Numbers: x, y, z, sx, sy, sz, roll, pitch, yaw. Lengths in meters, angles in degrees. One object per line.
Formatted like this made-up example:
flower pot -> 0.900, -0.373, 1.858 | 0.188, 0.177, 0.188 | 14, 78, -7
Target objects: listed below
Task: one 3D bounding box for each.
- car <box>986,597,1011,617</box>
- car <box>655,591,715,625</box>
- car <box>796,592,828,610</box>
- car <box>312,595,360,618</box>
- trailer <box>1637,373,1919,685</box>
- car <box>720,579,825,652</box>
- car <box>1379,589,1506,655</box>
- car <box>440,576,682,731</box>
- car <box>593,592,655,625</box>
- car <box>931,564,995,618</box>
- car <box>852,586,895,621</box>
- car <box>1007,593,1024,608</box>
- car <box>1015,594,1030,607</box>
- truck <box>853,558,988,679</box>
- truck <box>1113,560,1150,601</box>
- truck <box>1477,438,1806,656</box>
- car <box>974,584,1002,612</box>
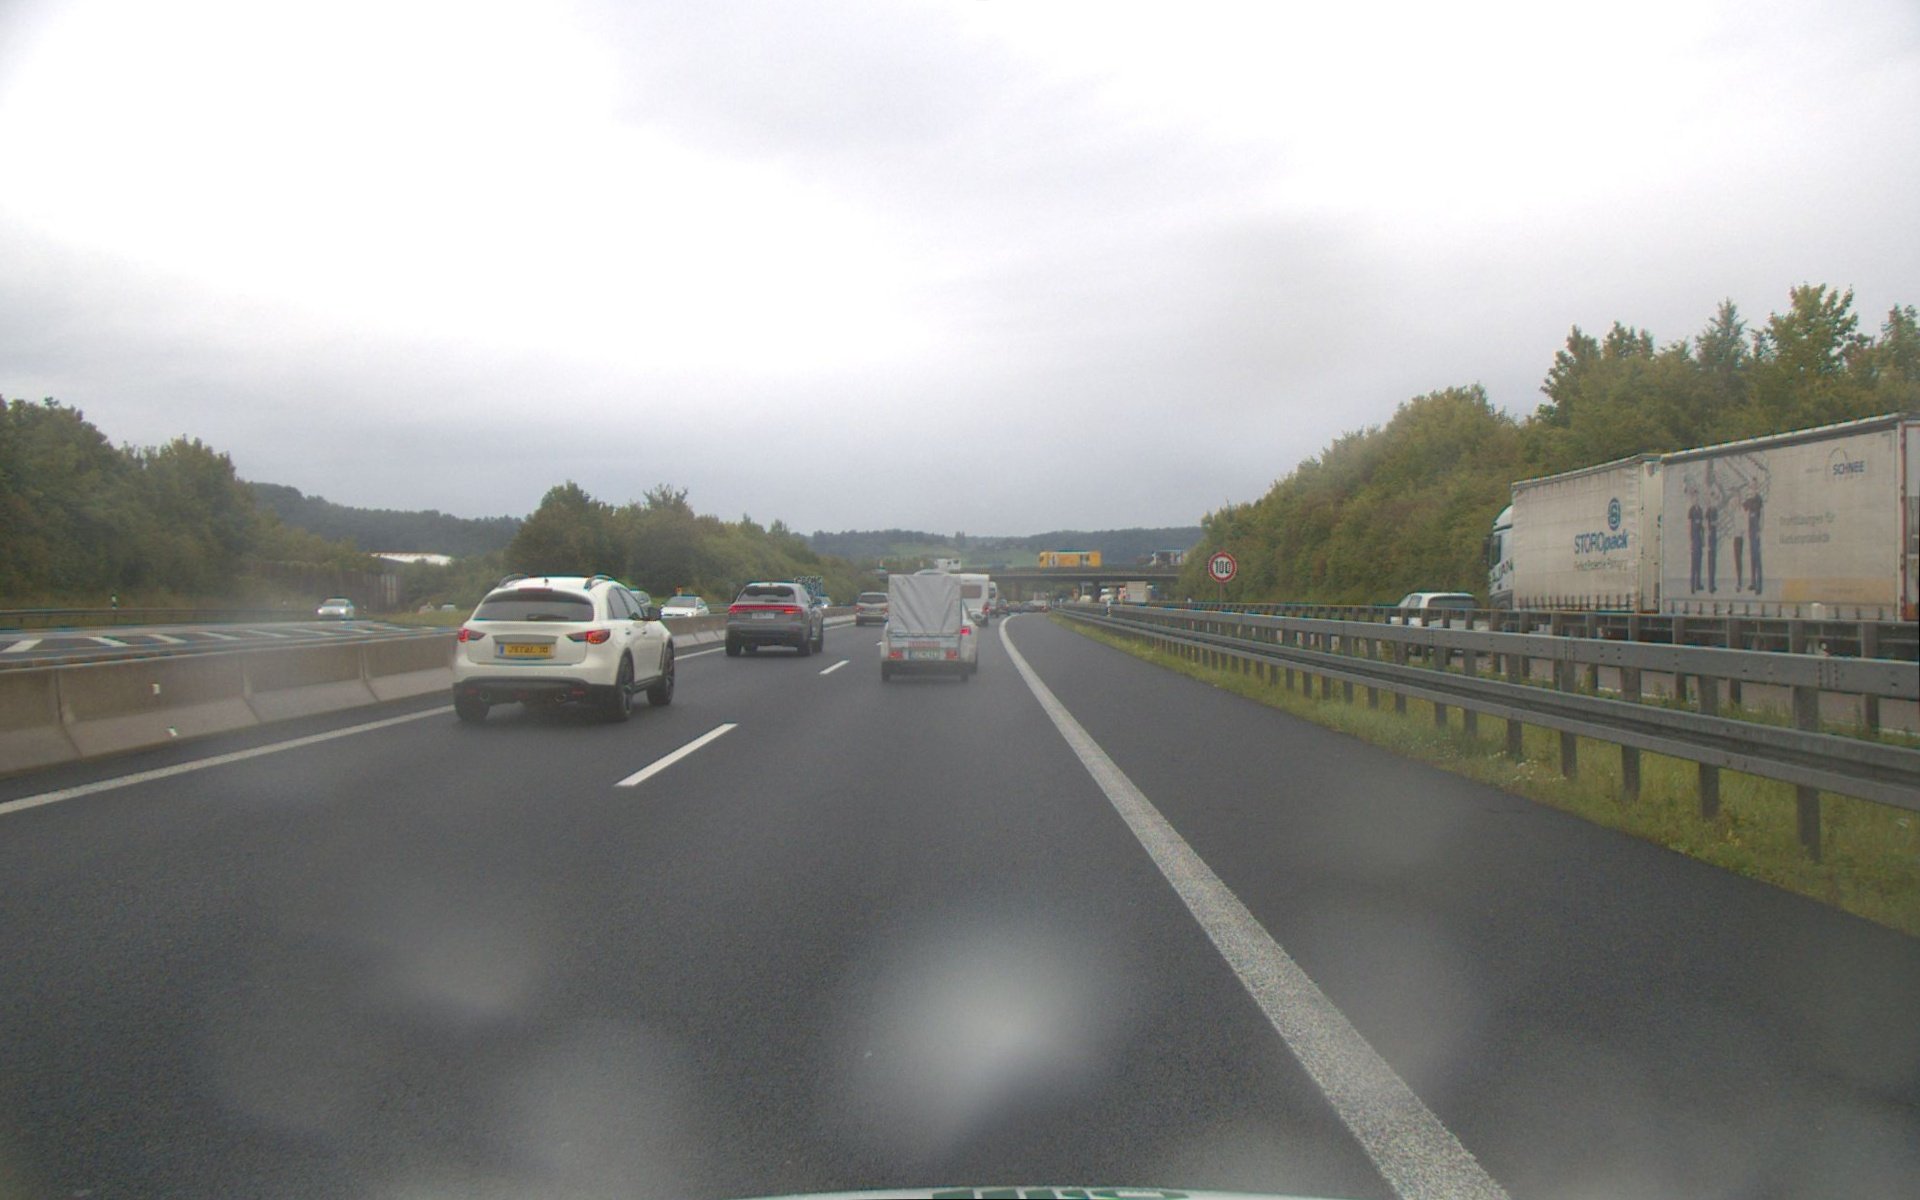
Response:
car -> 3.426, 0.617, 147.497 | 1.953, 1.780, 3.999 | 1, 0, -1
car -> -12.712, 0.369, 76.657 | 1.941, 1.533, 4.141 | 0, 0, 2
car -> -13.735, 0.078, 153.930 | 2.134, 1.725, 5.252 | 0, 0, 4
car -> -41.502, 0.427, 110.035 | 2.139, 1.455, 4.379 | 0, 0, -9
trailer -> 15.149, -1.027, 27.775 | 3.366, 4.364, 10.454 | 0, 0, 0
car -> -4.494, 0.349, 40.273 | 2.130, 1.660, 4.499 | 0, 0, -1
car -> 11.302, 0.498, 39.046 | 1.821, 1.472, 4.158 | 0, 0, 0
car -> -4.676, 0.571, 20.062 | 1.936, 1.668, 4.499 | 0, 0, -1
car -> -17.117, 0.415, 84.430 | 2.135, 1.663, 4.538 | 0, 0, 1
car -> 0.220, -0.447, 84.728 | 2.953, 2.662, 6.077 | 0, 0, 3
car -> -4.201, 0.157, 80.695 | 1.861, 1.641, 4.017 | 0, 0, 0
car -> 6.837, 0.103, 203.436 | 1.952, 1.780, 4.001 | 1, 0, 2
car -> 8.901, 0.113, 235.015 | 1.952, 1.780, 4.002 | 1, 0, 3
truck -> -0.591, 0.284, 31.099 | 1.977, 2.020, 7.216 | 0, 0, 3
truck -> 21.951, -2.500, 212.260 | 4.008, 5.193, 10.467 | 0, 0, 2
truck -> 15.248, -1.093, 38.247 | 3.366, 4.364, 10.418 | 0, 0, 0
car -> 2.117, -0.167, 127.284 | 1.953, 2.071, 4.150 | 1, 0, -1
